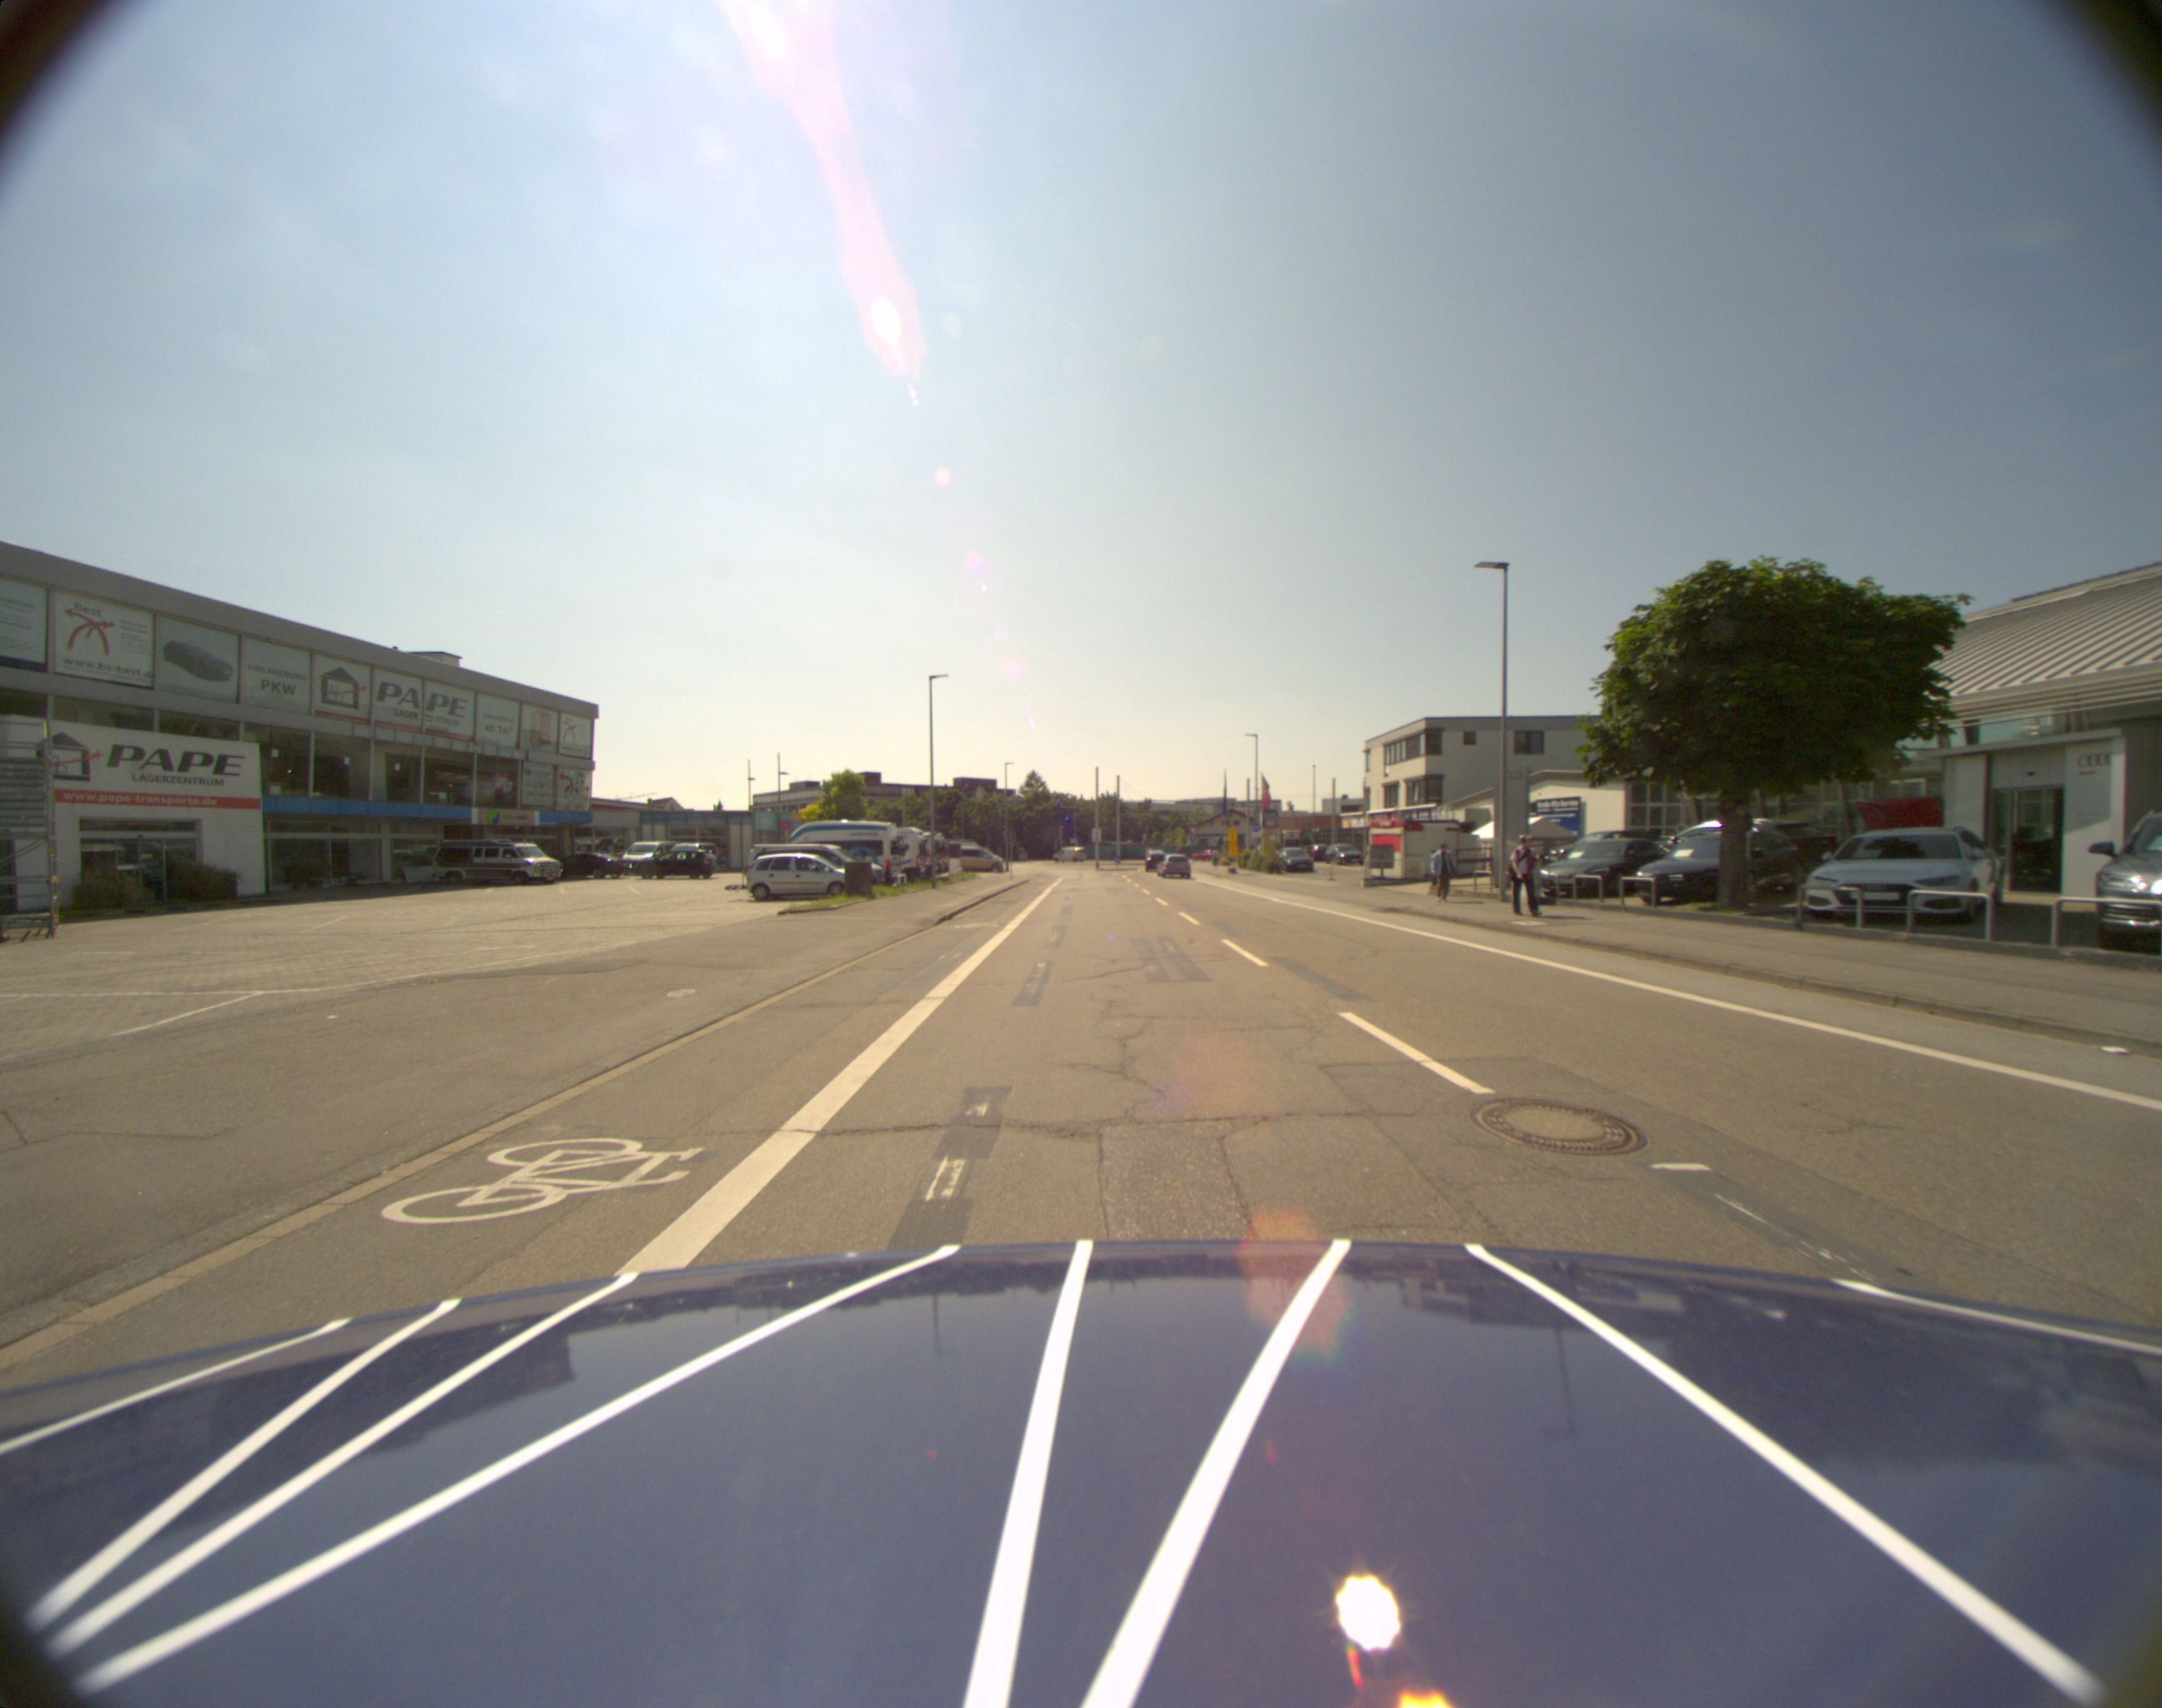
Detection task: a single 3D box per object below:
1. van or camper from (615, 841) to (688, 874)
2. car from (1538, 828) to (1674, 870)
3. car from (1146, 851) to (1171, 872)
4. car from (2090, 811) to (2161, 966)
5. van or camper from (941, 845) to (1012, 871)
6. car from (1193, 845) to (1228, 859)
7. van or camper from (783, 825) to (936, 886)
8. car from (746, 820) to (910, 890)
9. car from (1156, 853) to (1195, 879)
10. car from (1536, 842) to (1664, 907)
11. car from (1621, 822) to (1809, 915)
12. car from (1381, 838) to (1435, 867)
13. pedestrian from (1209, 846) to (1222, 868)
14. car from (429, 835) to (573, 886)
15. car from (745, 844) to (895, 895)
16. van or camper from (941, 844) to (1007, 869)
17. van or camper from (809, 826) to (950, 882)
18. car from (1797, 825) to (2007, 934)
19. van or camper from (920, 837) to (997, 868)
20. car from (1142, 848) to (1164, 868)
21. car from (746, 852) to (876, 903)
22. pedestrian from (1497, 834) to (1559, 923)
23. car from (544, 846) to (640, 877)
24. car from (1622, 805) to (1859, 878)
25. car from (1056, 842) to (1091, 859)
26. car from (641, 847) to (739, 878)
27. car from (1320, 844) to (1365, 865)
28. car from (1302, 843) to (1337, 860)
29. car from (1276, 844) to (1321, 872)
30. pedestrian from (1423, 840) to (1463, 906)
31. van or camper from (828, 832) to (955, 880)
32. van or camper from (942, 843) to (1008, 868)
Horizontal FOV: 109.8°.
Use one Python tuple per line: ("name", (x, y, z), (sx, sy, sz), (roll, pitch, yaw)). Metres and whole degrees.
("van or camper", (-27.487, 0.178, 48.871), (2.123, 2.002, 5.112), (-1, 0, -5))
("car", (20.567, -0.193, 29.906), (3.996, 1.516, 1.897), (-1, 1, 2))
("car", (5.764, 0.522, 56.800), (1.664, 1.446, 4.241), (1, 1, 4))
("car", (13.893, 0.316, 9.186), (4.588, 1.687, 1.854), (-2, 1, -35))
("van or camper", (-8.191, 0.271, 59.789), (5.145, 1.950, 1.982), (0, 2, -30))
("car", (16.511, -0.230, 96.902), (3.988, 1.696, 2.004), (-1, 1, 36))
("van or camper", (-10.262, 0.069, 35.704), (6.365, 2.684, 2.712), (0, 1, 1))
("car", (-10.741, 0.035, 32.640), (6.243, 2.853, 2.320), (0, 1, 1))
("car", (5.676, 0.675, 46.085), (1.746, 1.396, 4.324), (2, 1, 0))
("car", (13.992, 0.485, 20.396), (4.168, 1.451, 1.903), (-3, 1, -42))
("car", (14.237, 0.297, 16.993), (4.489, 1.599, 1.961), (-5, -2, -35))
("car", (21.143, -0.146, 49.304), (1.911, 1.699, 4.478), (0, 2, 5))
("pedestrian", (10.451, 0.208, 59.055), (0.996, 1.676, 0.800), (0, 1, 12))
("car", (-28.590, 0.293, 37.616), (5.310, 2.405, 2.326), (0, 1, 0))
("car", (-10.263, 0.600, 30.129), (5.247, 1.940, 2.000), (0, 1, 0))
("van or camper", (-8.809, 0.193, 62.540), (4.990, 2.033, 2.037), (0, 1, -30))
("van or camper", (-10.089, 0.000, 38.498), (6.365, 2.700, 2.712), (0, 1, 1))
("car", (14.085, 0.332, 12.982), (4.210, 1.486, 1.870), (-3, 2, -35))
("van or camper", (-10.921, -0.145, 68.087), (6.375, 2.621, 2.526), (-1, 1, -35))
("car", (6.704, 0.340, 71.021), (1.897, 1.748, 4.354), (0, 0, 3))
("car", (-9.595, 0.816, 27.217), (3.931, 1.584, 1.798), (-3, 1, 0))
("pedestrian", (9.722, 0.515, 16.571), (0.734, 1.857, 1.047), (0, 1, 0))
("car", (-27.903, 0.425, 43.437), (4.117, 1.723, 1.999), (0, 1, -3))
("car", (18.388, -0.343, 21.534), (2.001, 1.710, 4.726), (-4, 1, -15))
("car", (-1.066, -0.512, 108.013), (4.422, 1.938, 2.000), (7, 8, 31))
("car", (-22.354, 0.465, 43.601), (4.550, 1.668, 1.999), (0, 1, -3))
("car", (18.592, -0.001, 54.237), (1.911, 1.413, 4.419), (0, 0, 4))
("car", (20.748, -0.231, 66.321), (1.911, 1.380, 4.485), (0, 0, 4))
("car", (14.019, 0.251, 49.206), (1.909, 1.705, 4.000), (0, 0, 3))
("pedestrian", (10.239, 0.532, 21.527), (0.725, 1.838, 0.911), (0, 1, 1))
("van or camper", (-10.182, 0.094, 41.227), (6.211, 2.510, 2.618), (0, 1, 1))
("van or camper", (-9.161, 0.108, 65.727), (5.148, 2.064, 2.446), (-1, 1, -32))
